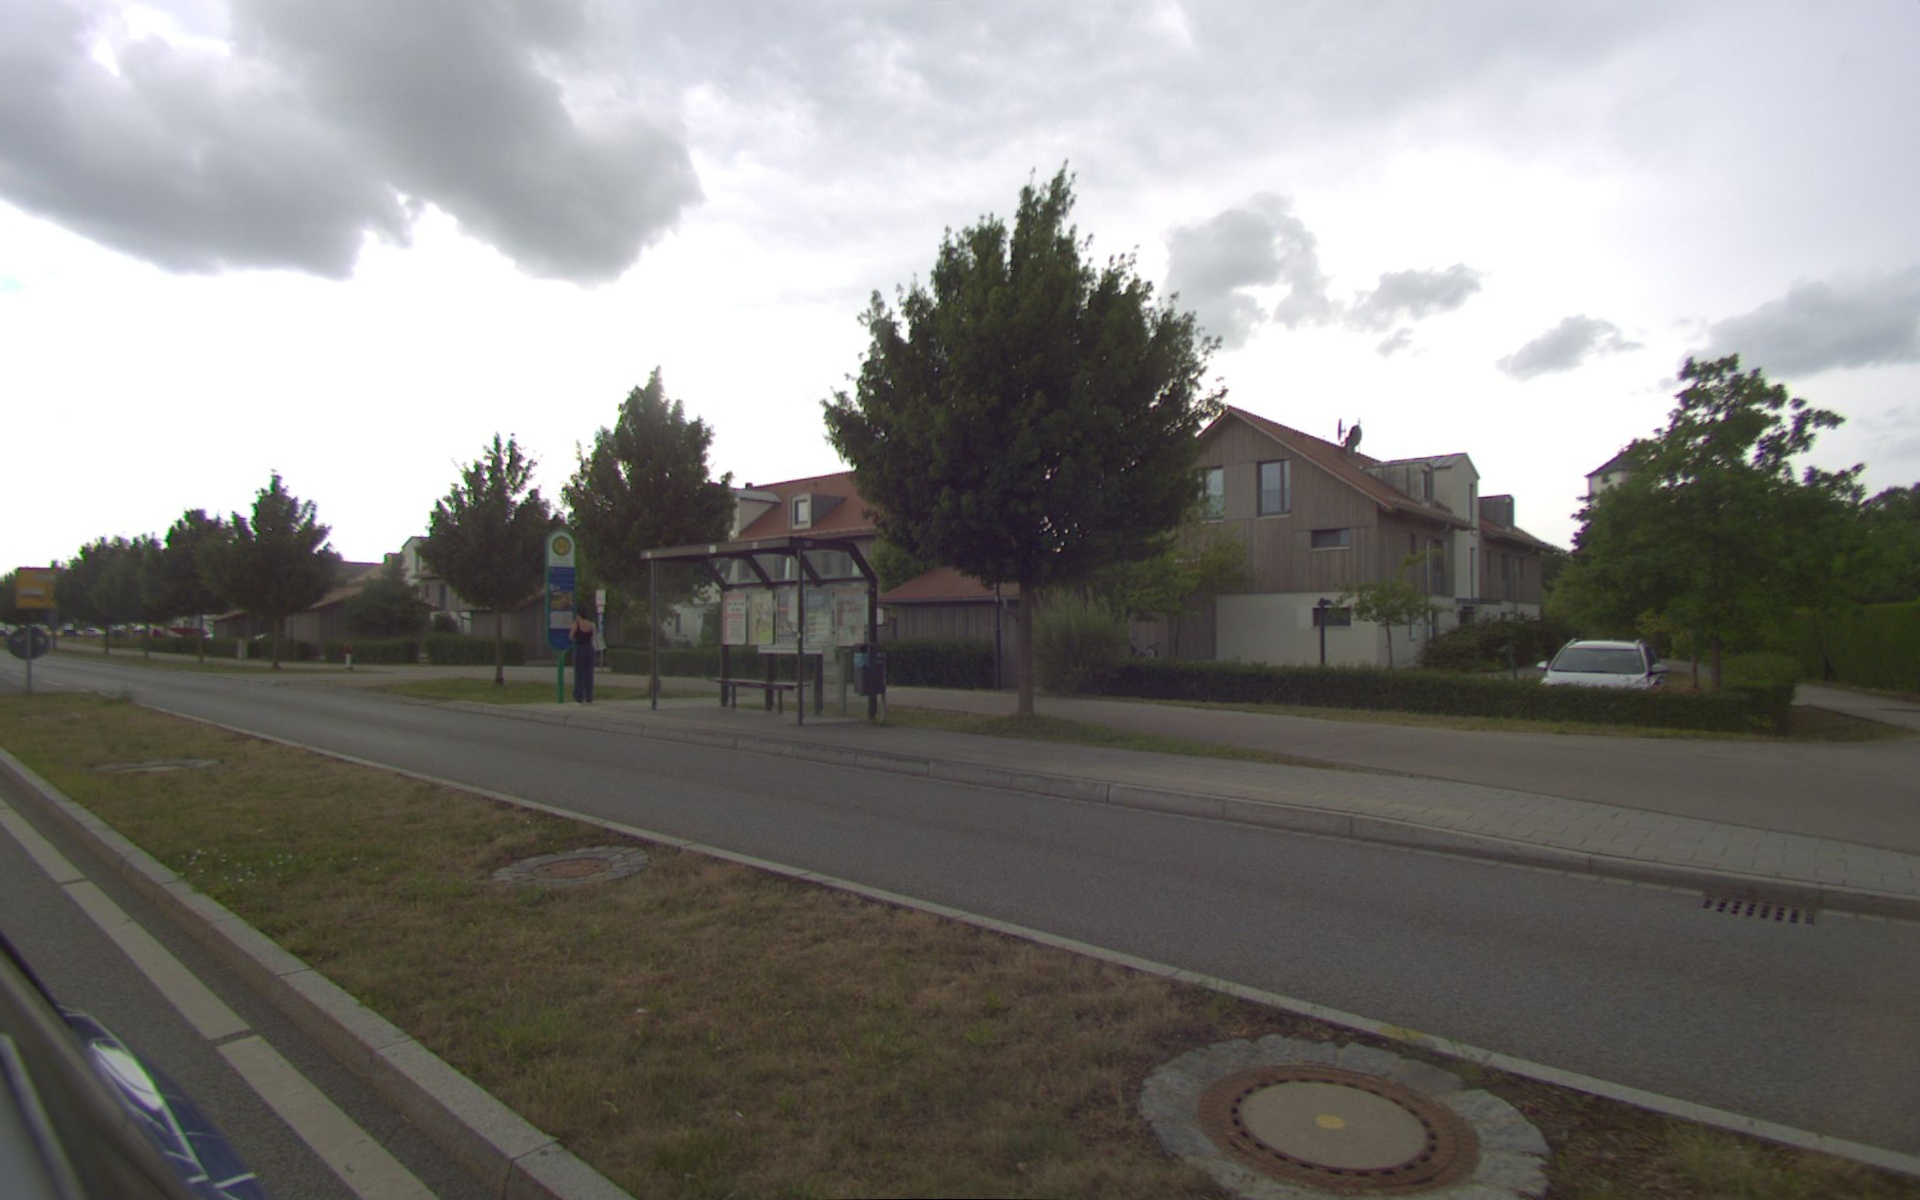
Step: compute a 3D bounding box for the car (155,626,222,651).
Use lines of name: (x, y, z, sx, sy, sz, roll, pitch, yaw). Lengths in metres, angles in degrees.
car: (-69.371, 3.455, 91.046, 2.001, 2.029, 4.506, -1, 0, 45)

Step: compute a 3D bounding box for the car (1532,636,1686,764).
car: (12.000, 1.701, 18.609, 1.997, 2.029, 3.948, -1, -2, 38)

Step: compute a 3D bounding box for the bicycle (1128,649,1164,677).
bicycle: (6.694, 2.245, 36.290, 0.419, 0.916, 1.922, -2, -2, 38)

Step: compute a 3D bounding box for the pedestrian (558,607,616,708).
pedestrian: (-6.239, 0.945, 16.925, 0.812, 1.649, 0.582, -2, -2, 40)

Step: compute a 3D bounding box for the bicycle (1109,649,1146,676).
bicycle: (6.106, 2.251, 36.816, 0.419, 0.916, 1.922, -2, -2, 38)
